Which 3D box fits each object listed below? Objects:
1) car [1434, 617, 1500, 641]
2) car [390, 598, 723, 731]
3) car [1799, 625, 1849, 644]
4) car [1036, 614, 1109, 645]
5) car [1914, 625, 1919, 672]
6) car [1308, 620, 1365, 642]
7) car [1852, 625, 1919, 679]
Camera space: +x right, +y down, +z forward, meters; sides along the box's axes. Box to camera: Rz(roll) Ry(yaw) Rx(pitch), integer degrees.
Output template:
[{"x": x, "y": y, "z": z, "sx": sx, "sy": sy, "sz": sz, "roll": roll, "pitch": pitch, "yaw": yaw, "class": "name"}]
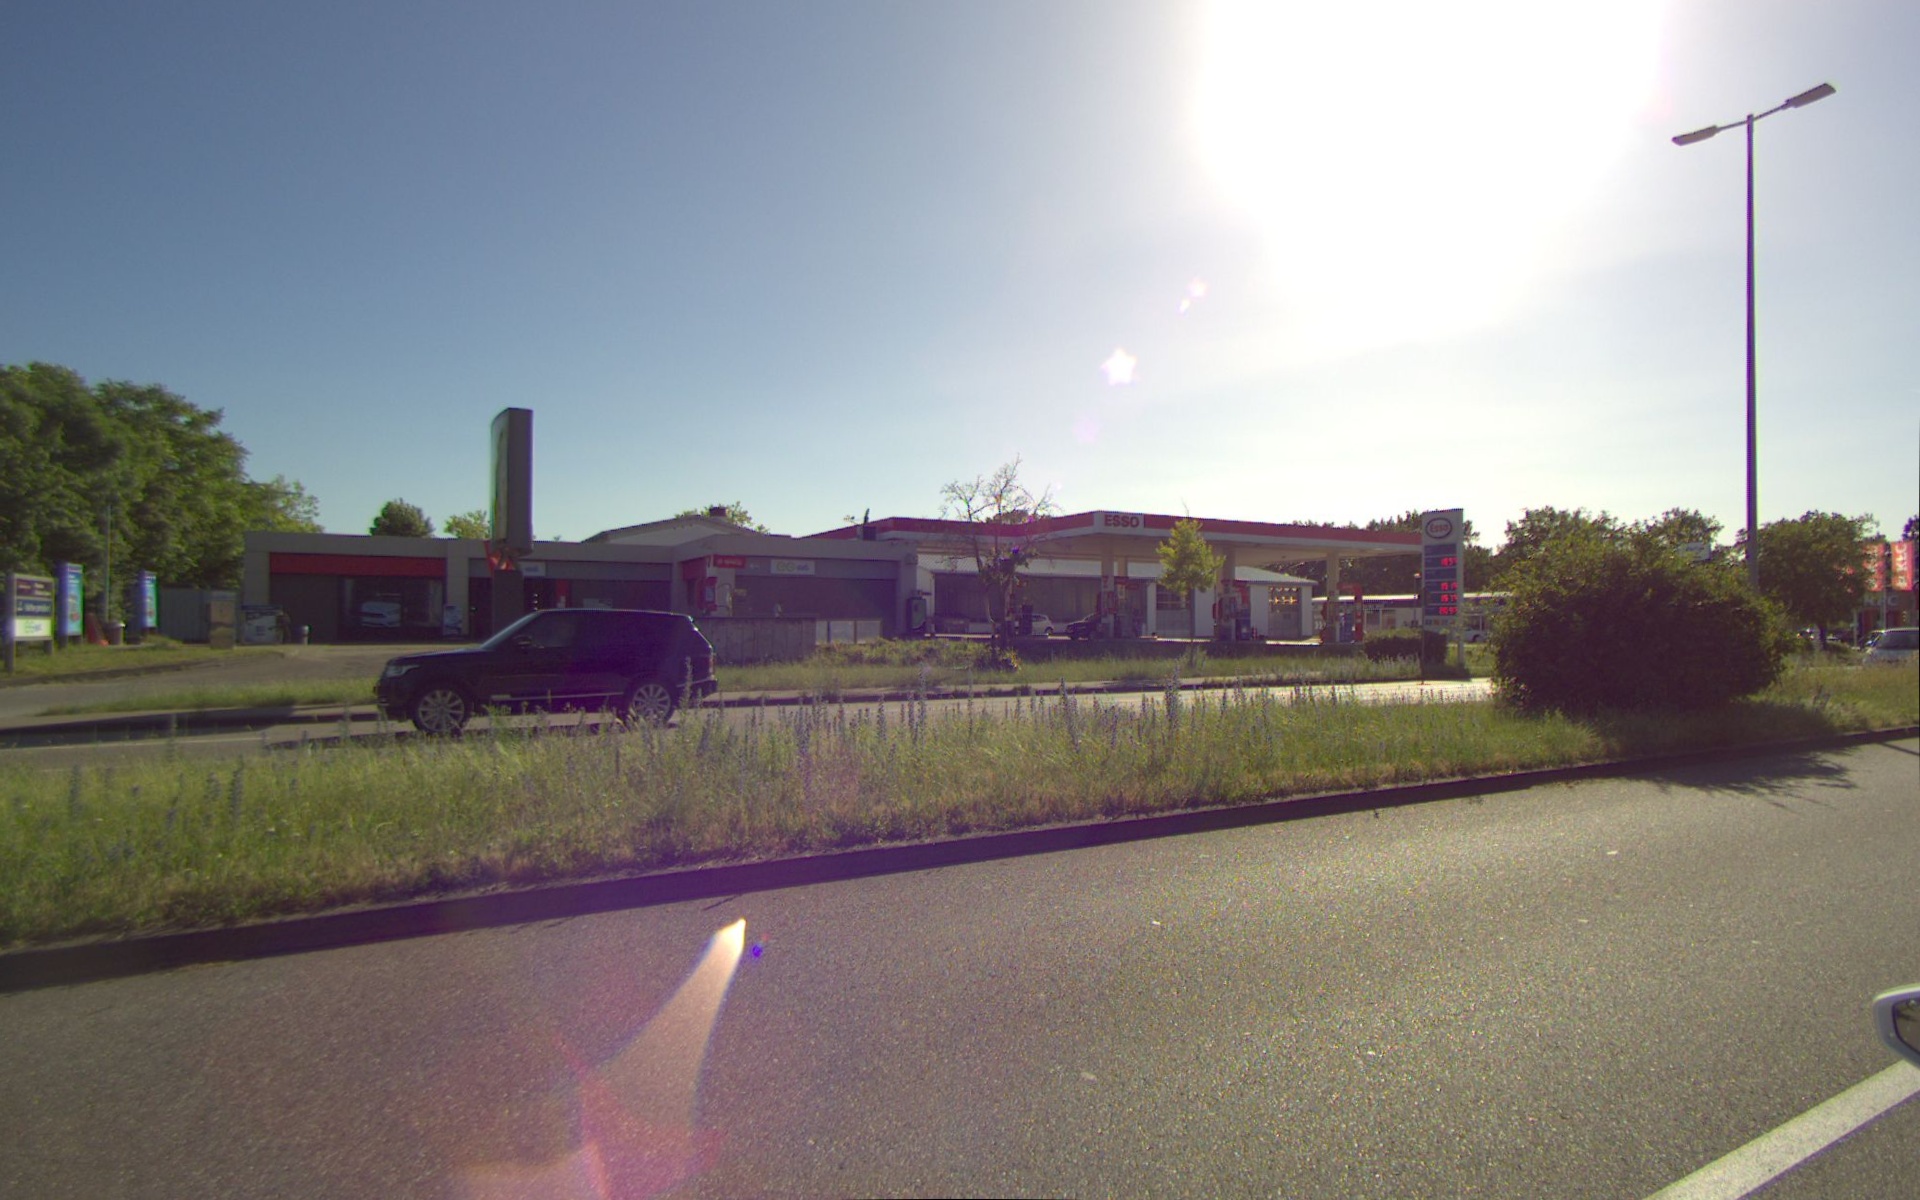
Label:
[{"x": 41.064, "y": 2.331, "z": 81.418, "sx": 1.978, "sy": 1.867, "sz": 4.361, "roll": 1, "pitch": -1, "yaw": -32, "class": "car"}, {"x": -6.197, "y": 0.973, "z": 15.645, "sx": 4.616, "sy": 1.825, "sz": 1.732, "roll": 1, "pitch": -4, "yaw": -30, "class": "car"}, {"x": 84.556, "y": 3.384, "z": 98.359, "sx": 1.888, "sy": 1.806, "sz": 4.090, "roll": 0, "pitch": -1, "yaw": 11, "class": "car"}, {"x": 5.591, "y": 1.458, "z": 50.455, "sx": 1.971, "sy": 1.494, "sz": 3.978, "roll": 1, "pitch": -1, "yaw": -23, "class": "car"}, {"x": 35.298, "y": 1.720, "z": 35.365, "sx": 3.628, "sy": 1.644, "sz": 1.528, "roll": 1, "pitch": -1, "yaw": -30, "class": "car"}, {"x": 28.953, "y": 2.380, "z": 77.259, "sx": 4.241, "sy": 1.570, "sz": 1.803, "roll": 1, "pitch": -1, "yaw": -29, "class": "car"}, {"x": 28.697, "y": 1.548, "z": 30.442, "sx": 3.445, "sy": 1.528, "sz": 1.486, "roll": 1, "pitch": -1, "yaw": -30, "class": "car"}]
